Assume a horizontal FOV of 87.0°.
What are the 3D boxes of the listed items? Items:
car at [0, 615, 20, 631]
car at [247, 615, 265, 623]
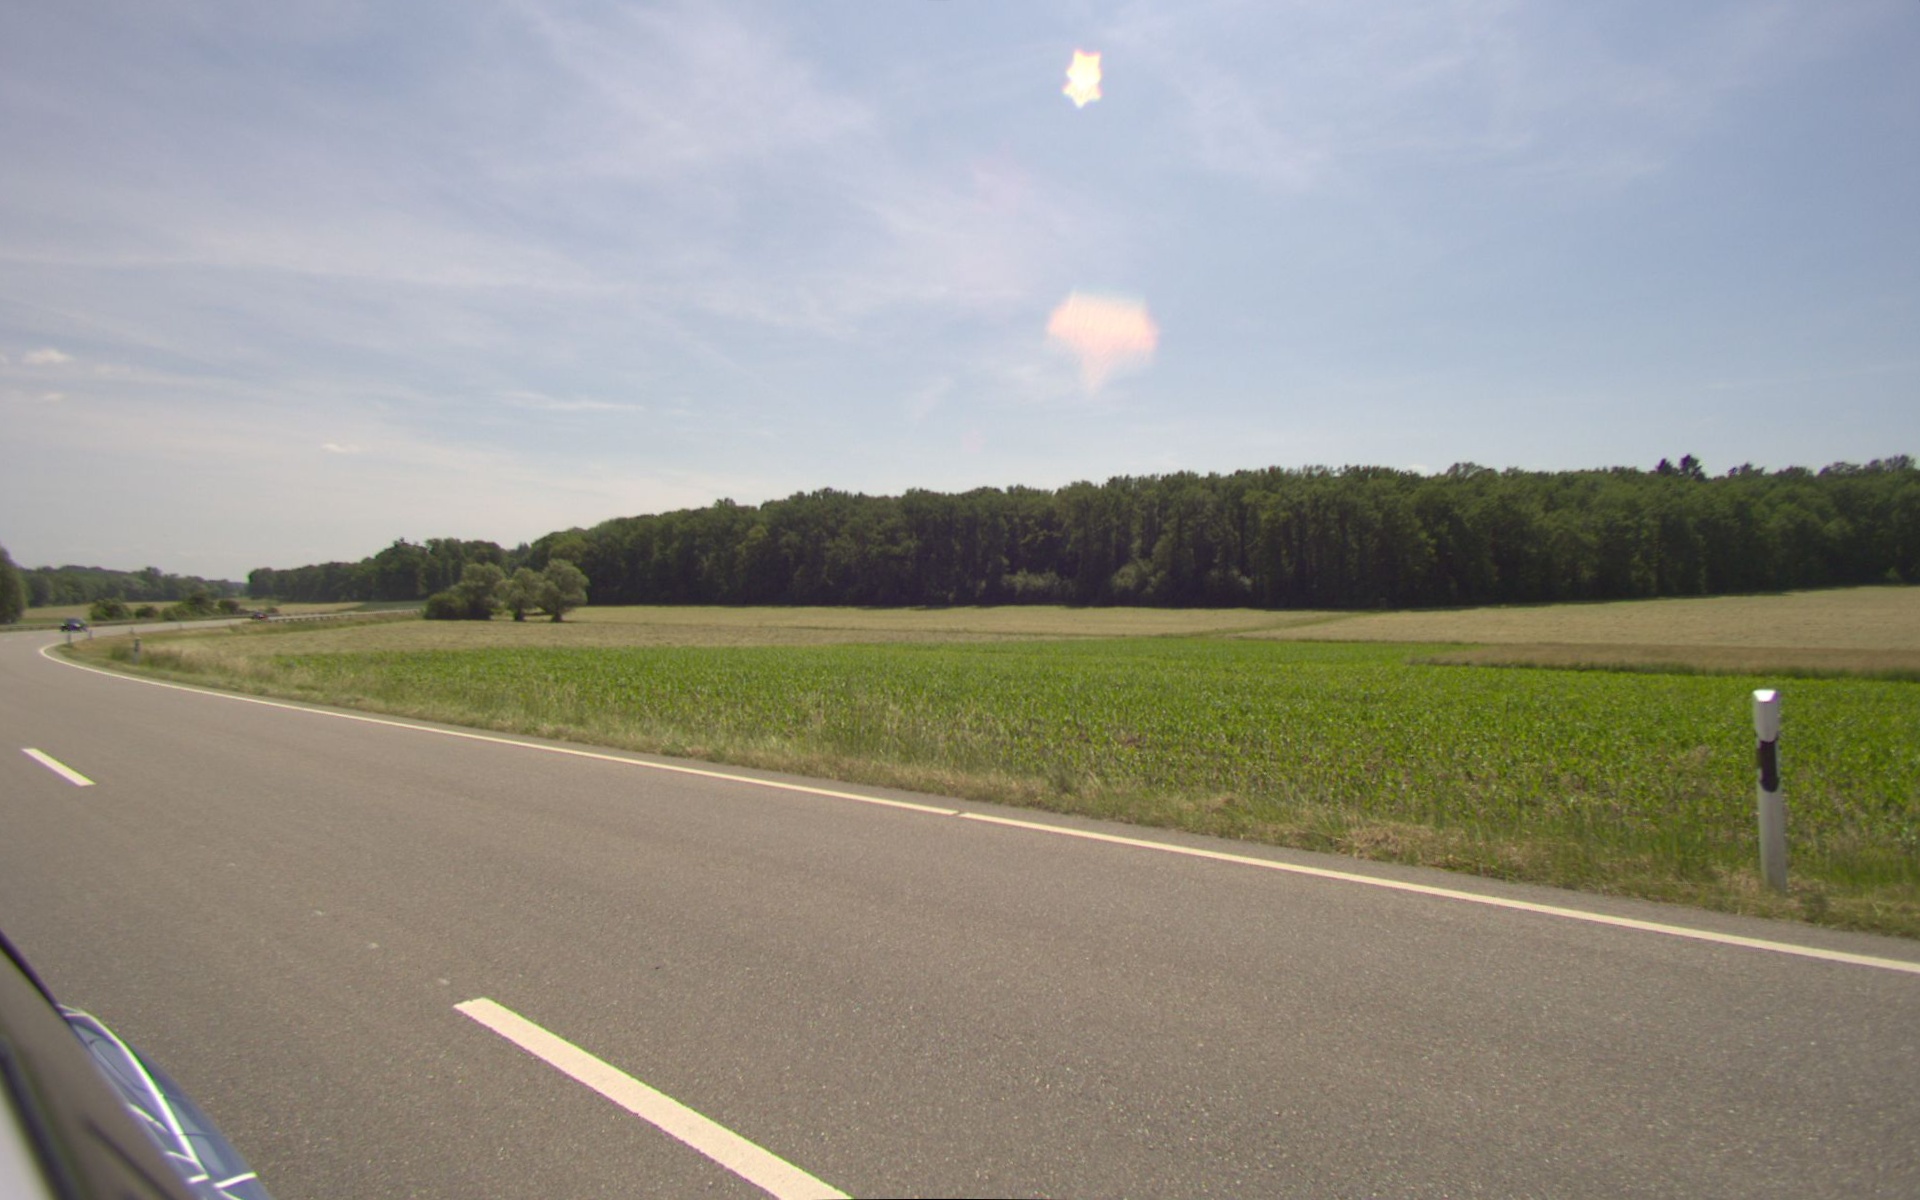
[{"bbox_3d":[-97.341,2.332,103.377,1.596,1.447,3.451,1,0,-37],"label":"car"},{"bbox_3d":[-132.004,3.548,189.698,1.595,1.447,3.453,1,0,-14],"label":"car"}]
